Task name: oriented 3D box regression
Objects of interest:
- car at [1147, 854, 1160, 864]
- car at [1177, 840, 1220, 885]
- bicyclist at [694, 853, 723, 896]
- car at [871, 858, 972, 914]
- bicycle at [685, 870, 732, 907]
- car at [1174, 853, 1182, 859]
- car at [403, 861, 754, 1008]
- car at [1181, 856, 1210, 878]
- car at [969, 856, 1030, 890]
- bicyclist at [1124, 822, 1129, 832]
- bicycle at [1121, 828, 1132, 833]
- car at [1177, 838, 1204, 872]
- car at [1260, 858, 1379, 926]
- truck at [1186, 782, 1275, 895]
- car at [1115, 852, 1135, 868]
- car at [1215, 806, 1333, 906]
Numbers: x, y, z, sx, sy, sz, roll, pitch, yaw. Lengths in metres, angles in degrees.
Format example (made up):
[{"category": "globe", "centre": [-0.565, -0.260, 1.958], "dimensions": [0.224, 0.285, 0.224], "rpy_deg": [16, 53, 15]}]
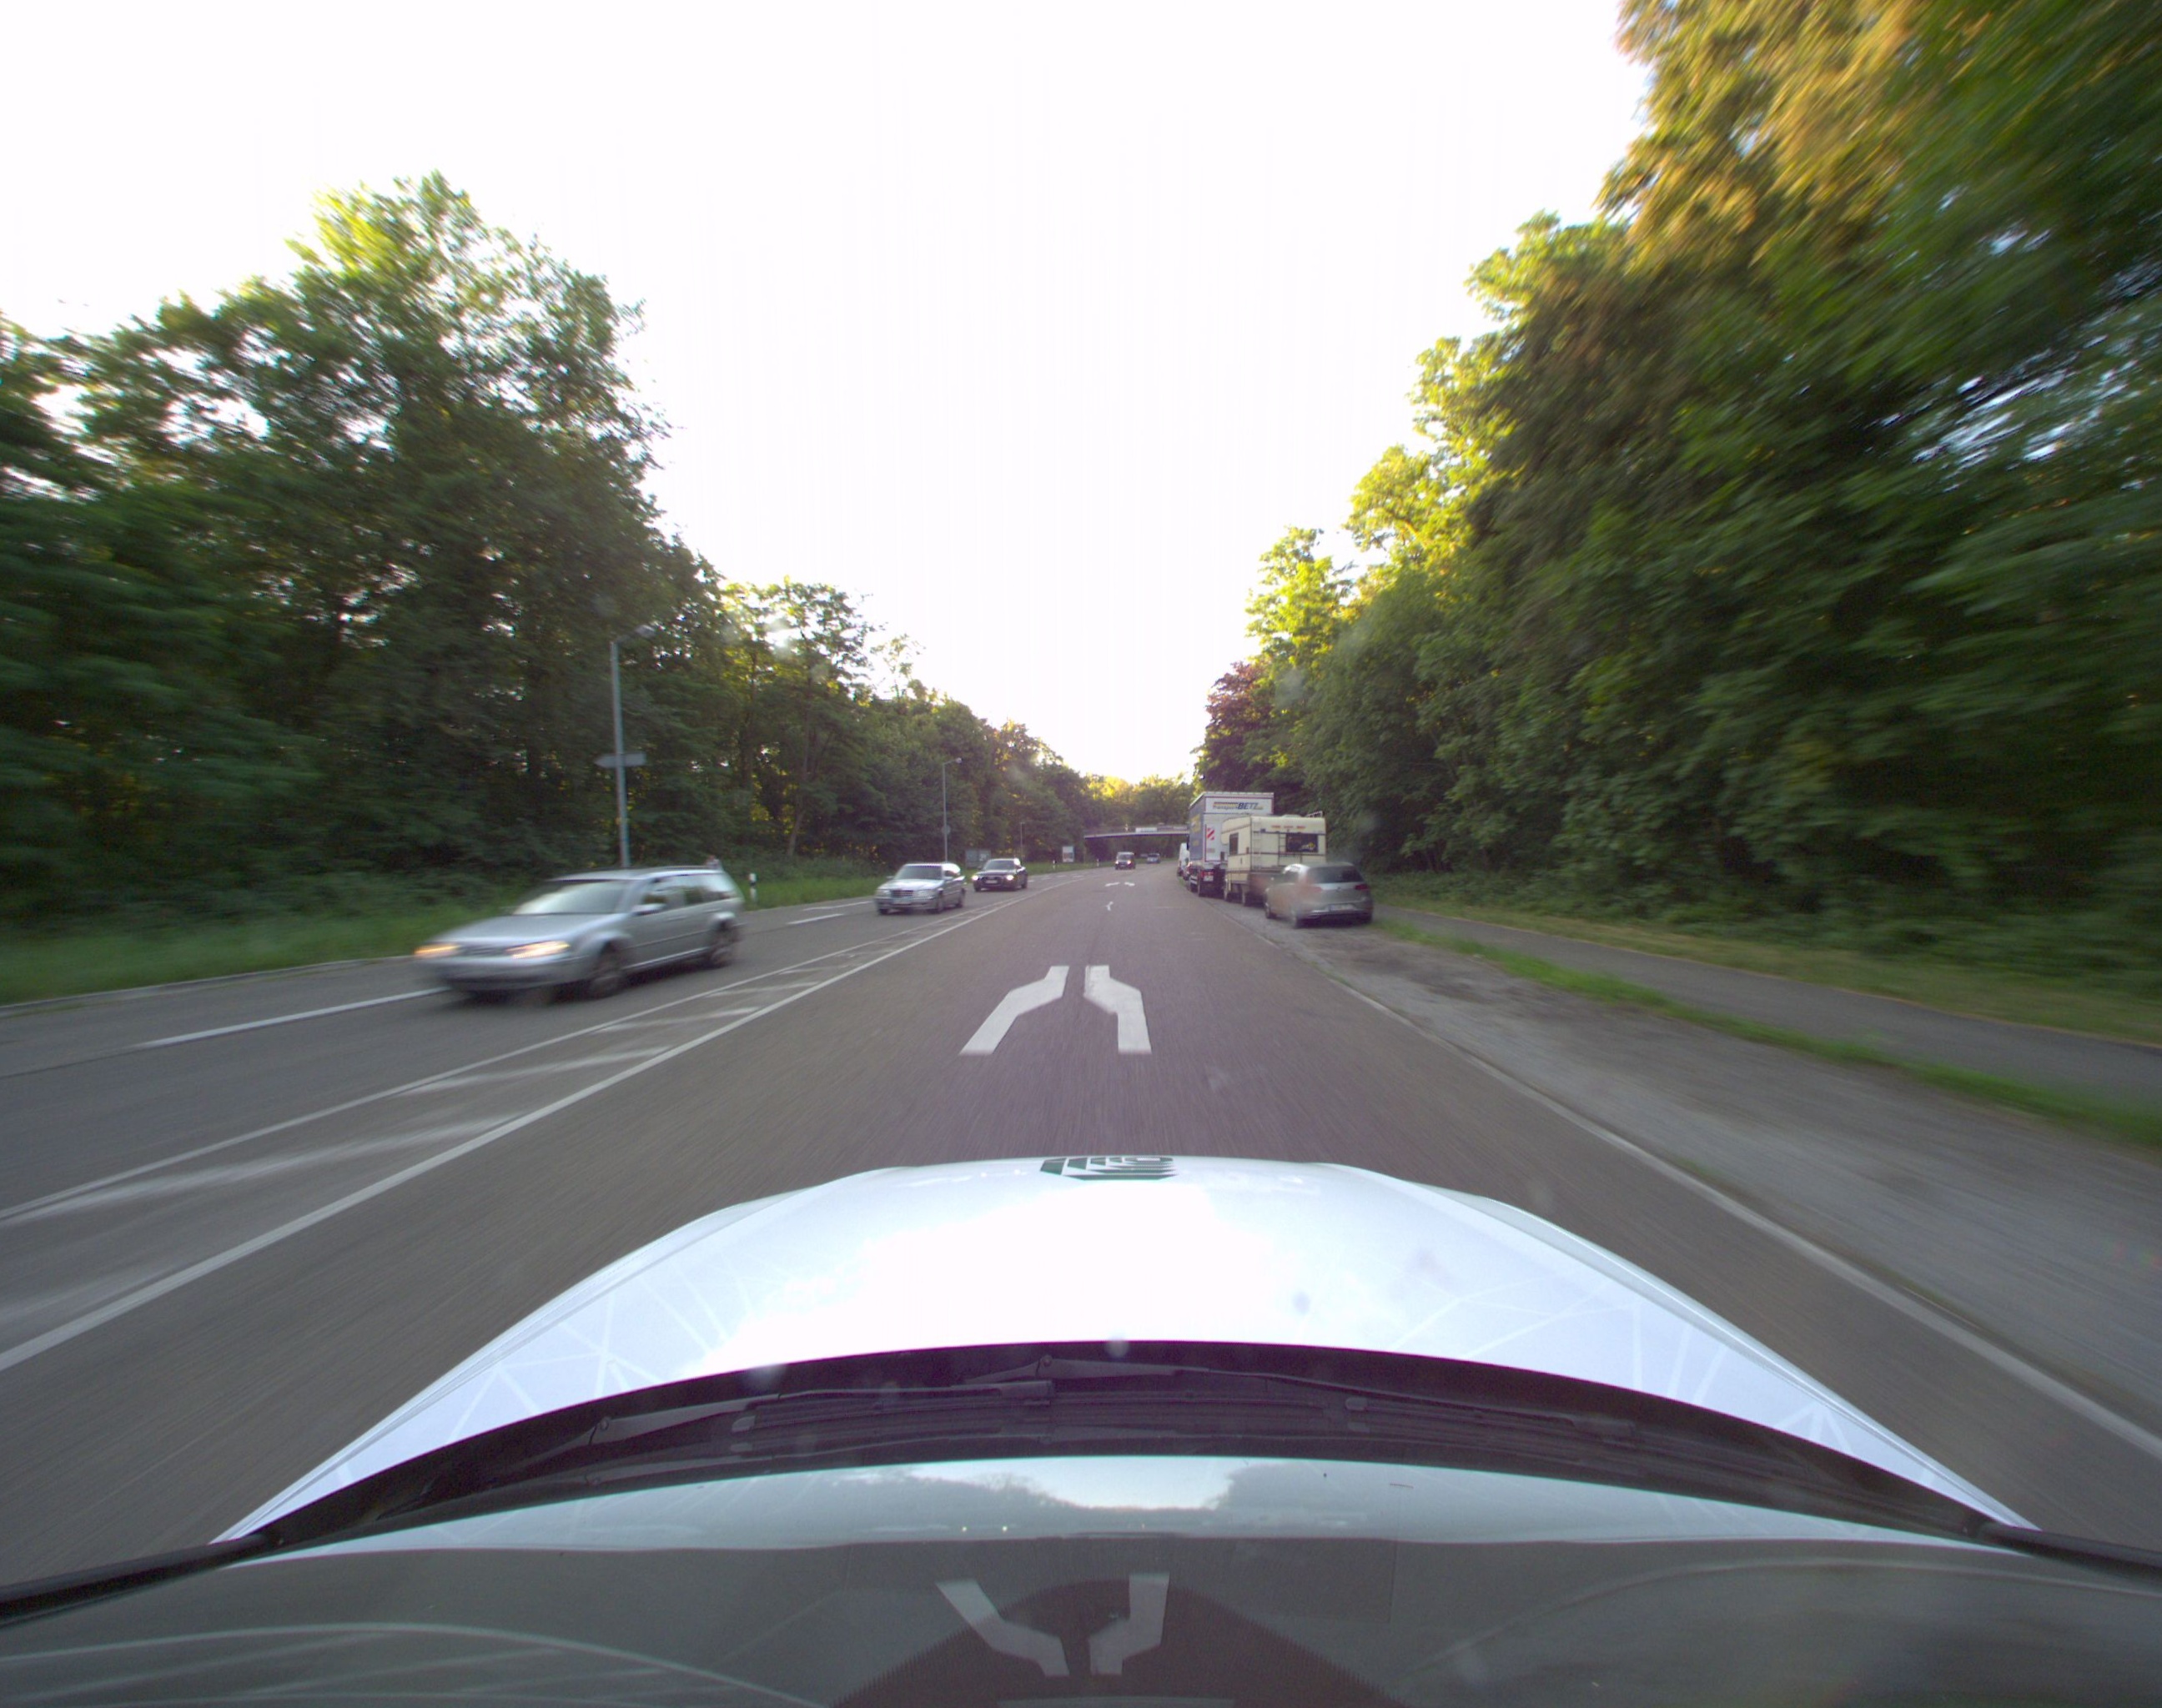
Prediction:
[{"category": "car", "centre": [12.479, 0.824, 139.841], "dimensions": [1.832, 1.735, 4.010], "rpy_deg": [0, 0, 9]}, {"category": "car", "centre": [6.172, 0.409, 43.123], "dimensions": [1.984, 2.189, 4.935], "rpy_deg": [1, 0, 5]}, {"category": "bicyclist", "centre": [-13.616, 0.747, 29.771], "dimensions": [0.618, 1.511, 0.847], "rpy_deg": [-2, 1, -1]}, {"category": "car", "centre": [-4.530, 0.854, 23.765], "dimensions": [1.712, 1.397, 4.381], "rpy_deg": [-1, 0, 5]}, {"category": "bicycle", "centre": [-13.604, 1.234, 29.801], "dimensions": [0.628, 1.217, 2.261], "rpy_deg": [-2, 0, 0]}, {"category": "car", "centre": [24.142, 0.573, 202.441], "dimensions": [1.880, 1.447, 4.121], "rpy_deg": [-2, 0, 9]}, {"category": "car", "centre": [-6.090, 0.866, 10.587], "dimensions": [1.708, 1.446, 4.178], "rpy_deg": [-2, 0, 4]}, {"category": "car", "centre": [7.540, 0.811, 53.877], "dimensions": [1.675, 1.373, 4.276], "rpy_deg": [1, 0, 5]}, {"category": "car", "centre": [-3.702, 0.840, 37.885], "dimensions": [1.882, 1.440, 4.777], "rpy_deg": [0, 0, 5]}, {"category": "bicyclist", "centre": [7.883, -4.655, 140.941], "dimensions": [0.660, 1.581, 0.549], "rpy_deg": [0, 0, 11]}, {"category": "bicycle", "centre": [7.839, -4.079, 140.941], "dimensions": [1.833, 0.949, 0.552], "rpy_deg": [0, 0, 11]}, {"category": "car", "centre": [8.632, 0.097, 64.521], "dimensions": [1.954, 2.512, 6.026], "rpy_deg": [1, 0, 7]}, {"category": "car", "centre": [5.556, 0.834, 19.494], "dimensions": [1.692, 1.406, 4.076], "rpy_deg": [-2, 0, 1]}, {"category": "truck", "centre": [6.019, -0.572, 34.291], "dimensions": [2.645, 4.027, 9.734], "rpy_deg": [-1, 0, 4]}, {"category": "car", "centre": [4.994, 0.648, 91.886], "dimensions": [1.832, 1.800, 4.760], "rpy_deg": [0, 0, 9]}, {"category": "car", "centre": [6.026, 0.067, 26.332], "dimensions": [2.400, 2.858, 5.932], "rpy_deg": [-1, 0, 0]}]
